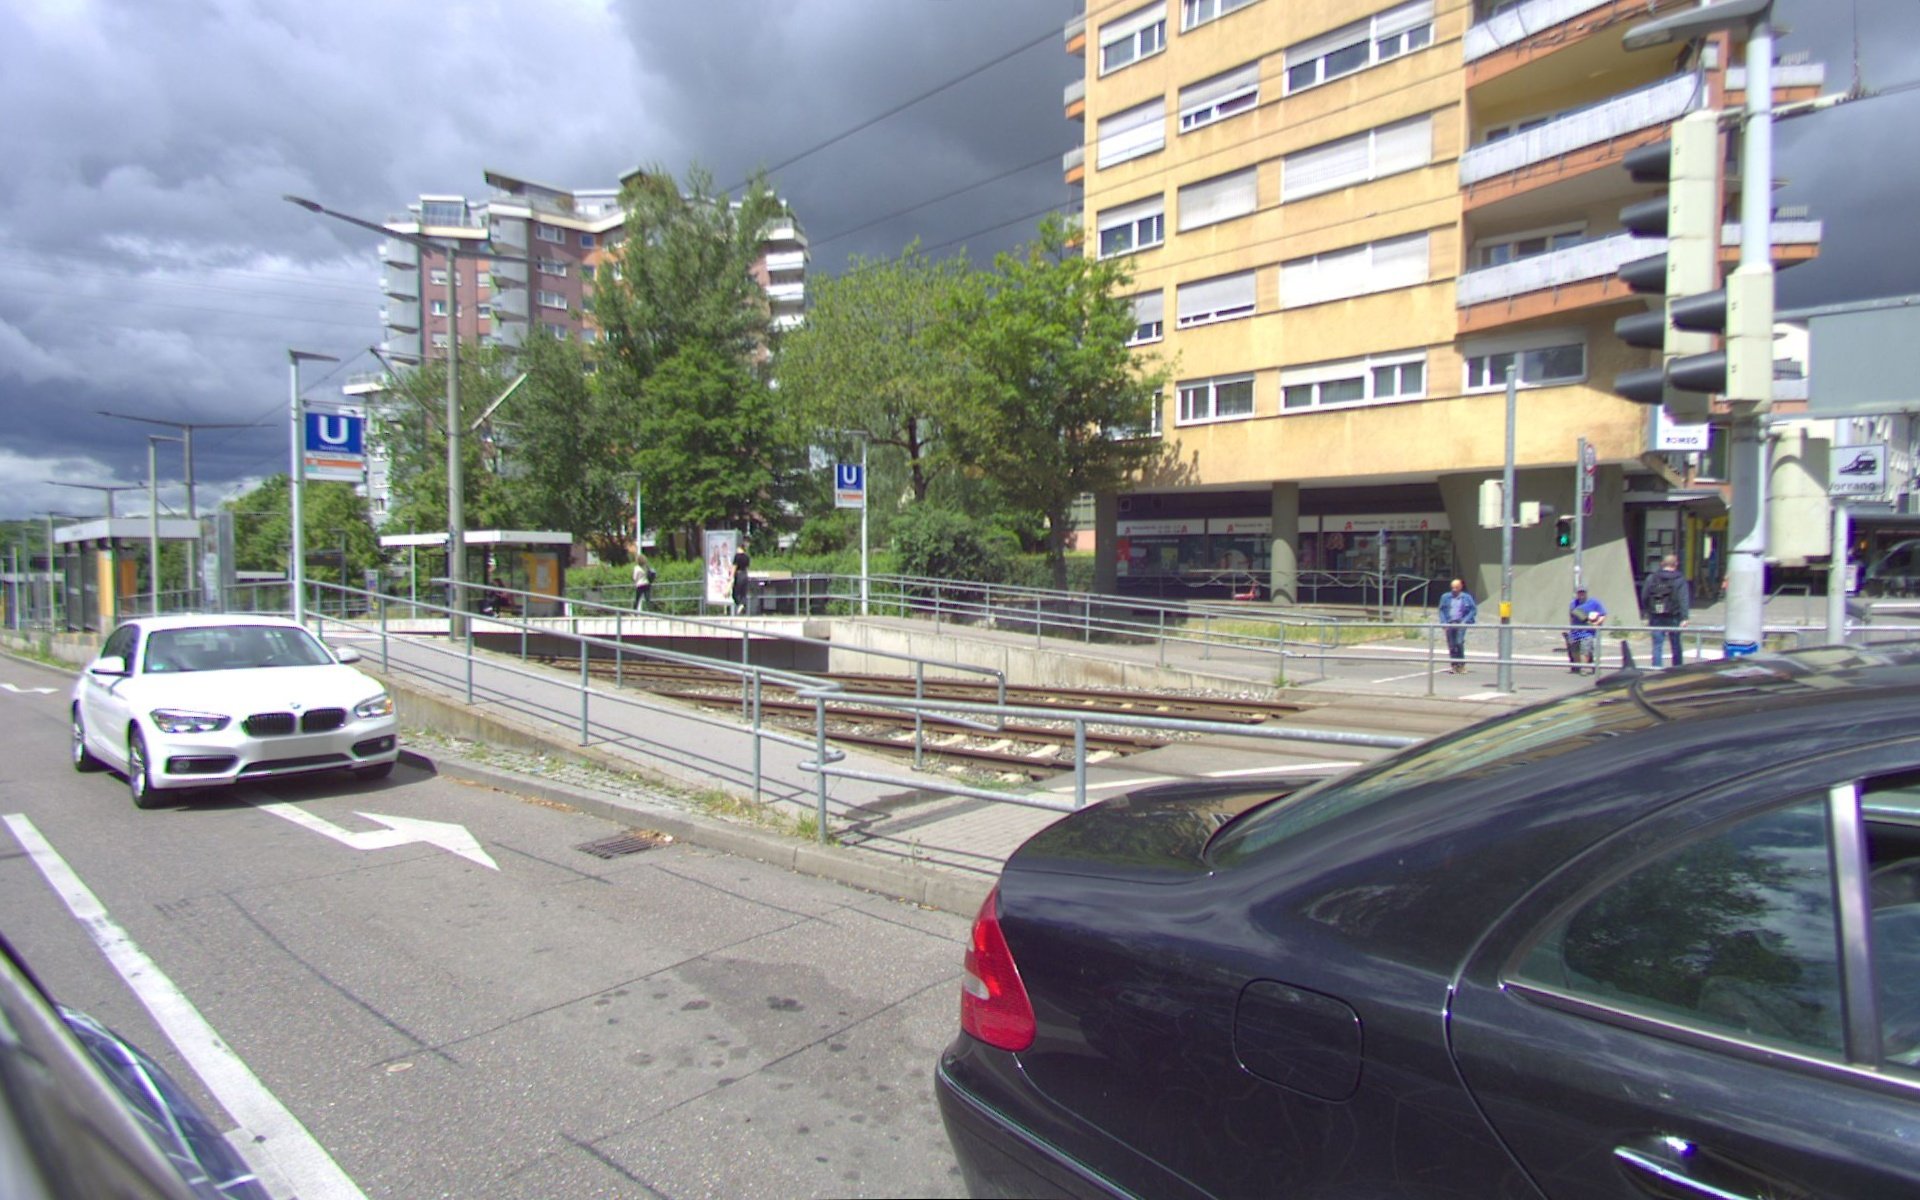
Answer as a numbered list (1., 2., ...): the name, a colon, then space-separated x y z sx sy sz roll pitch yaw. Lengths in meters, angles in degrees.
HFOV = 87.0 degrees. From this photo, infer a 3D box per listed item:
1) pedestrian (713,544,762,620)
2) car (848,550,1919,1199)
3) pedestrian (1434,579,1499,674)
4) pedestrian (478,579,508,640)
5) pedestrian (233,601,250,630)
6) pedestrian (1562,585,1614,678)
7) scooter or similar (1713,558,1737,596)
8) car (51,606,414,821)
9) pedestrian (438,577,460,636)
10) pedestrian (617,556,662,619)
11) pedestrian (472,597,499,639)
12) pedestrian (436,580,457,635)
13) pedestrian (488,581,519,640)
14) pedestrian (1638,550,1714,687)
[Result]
1. pedestrian: -5.360 -0.433 24.381 0.747 1.787 0.854 0 0 40
2. car: 2.160 0.649 1.100 4.674 1.409 1.950 0 0 42
3. pedestrian: 8.889 0.464 17.750 0.909 1.609 0.712 0 -4 37
4. pedestrian: -15.814 0.313 34.267 0.584 2.029 0.770 0 0 41
5. pedestrian: -42.609 0.924 59.987 0.763 1.718 0.767 0 0 -41
6. pedestrian: 10.651 0.514 17.158 0.649 1.525 0.711 0 0 41
7. scooter or similar: 23.362 -0.690 30.917 0.544 1.102 1.731 0 0 36
8. car: -6.602 0.822 8.994 4.275 1.462 1.770 -1 -2 43
9. pedestrian: -18.682 0.238 37.001 0.608 2.157 0.525 0 0 44
10. pedestrian: -8.412 -0.329 26.585 0.747 1.618 0.854 0 0 40
11. pedestrian: -16.454 0.611 35.085 0.658 1.425 0.637 0 0 41
12. pedestrian: -18.998 0.281 37.418 0.557 2.029 0.510 0 0 41
13. pedestrian: -15.146 0.339 33.607 0.572 1.946 0.761 0 0 39
14. pedestrian: 10.658 0.259 15.064 0.853 1.949 0.909 0 0 40
